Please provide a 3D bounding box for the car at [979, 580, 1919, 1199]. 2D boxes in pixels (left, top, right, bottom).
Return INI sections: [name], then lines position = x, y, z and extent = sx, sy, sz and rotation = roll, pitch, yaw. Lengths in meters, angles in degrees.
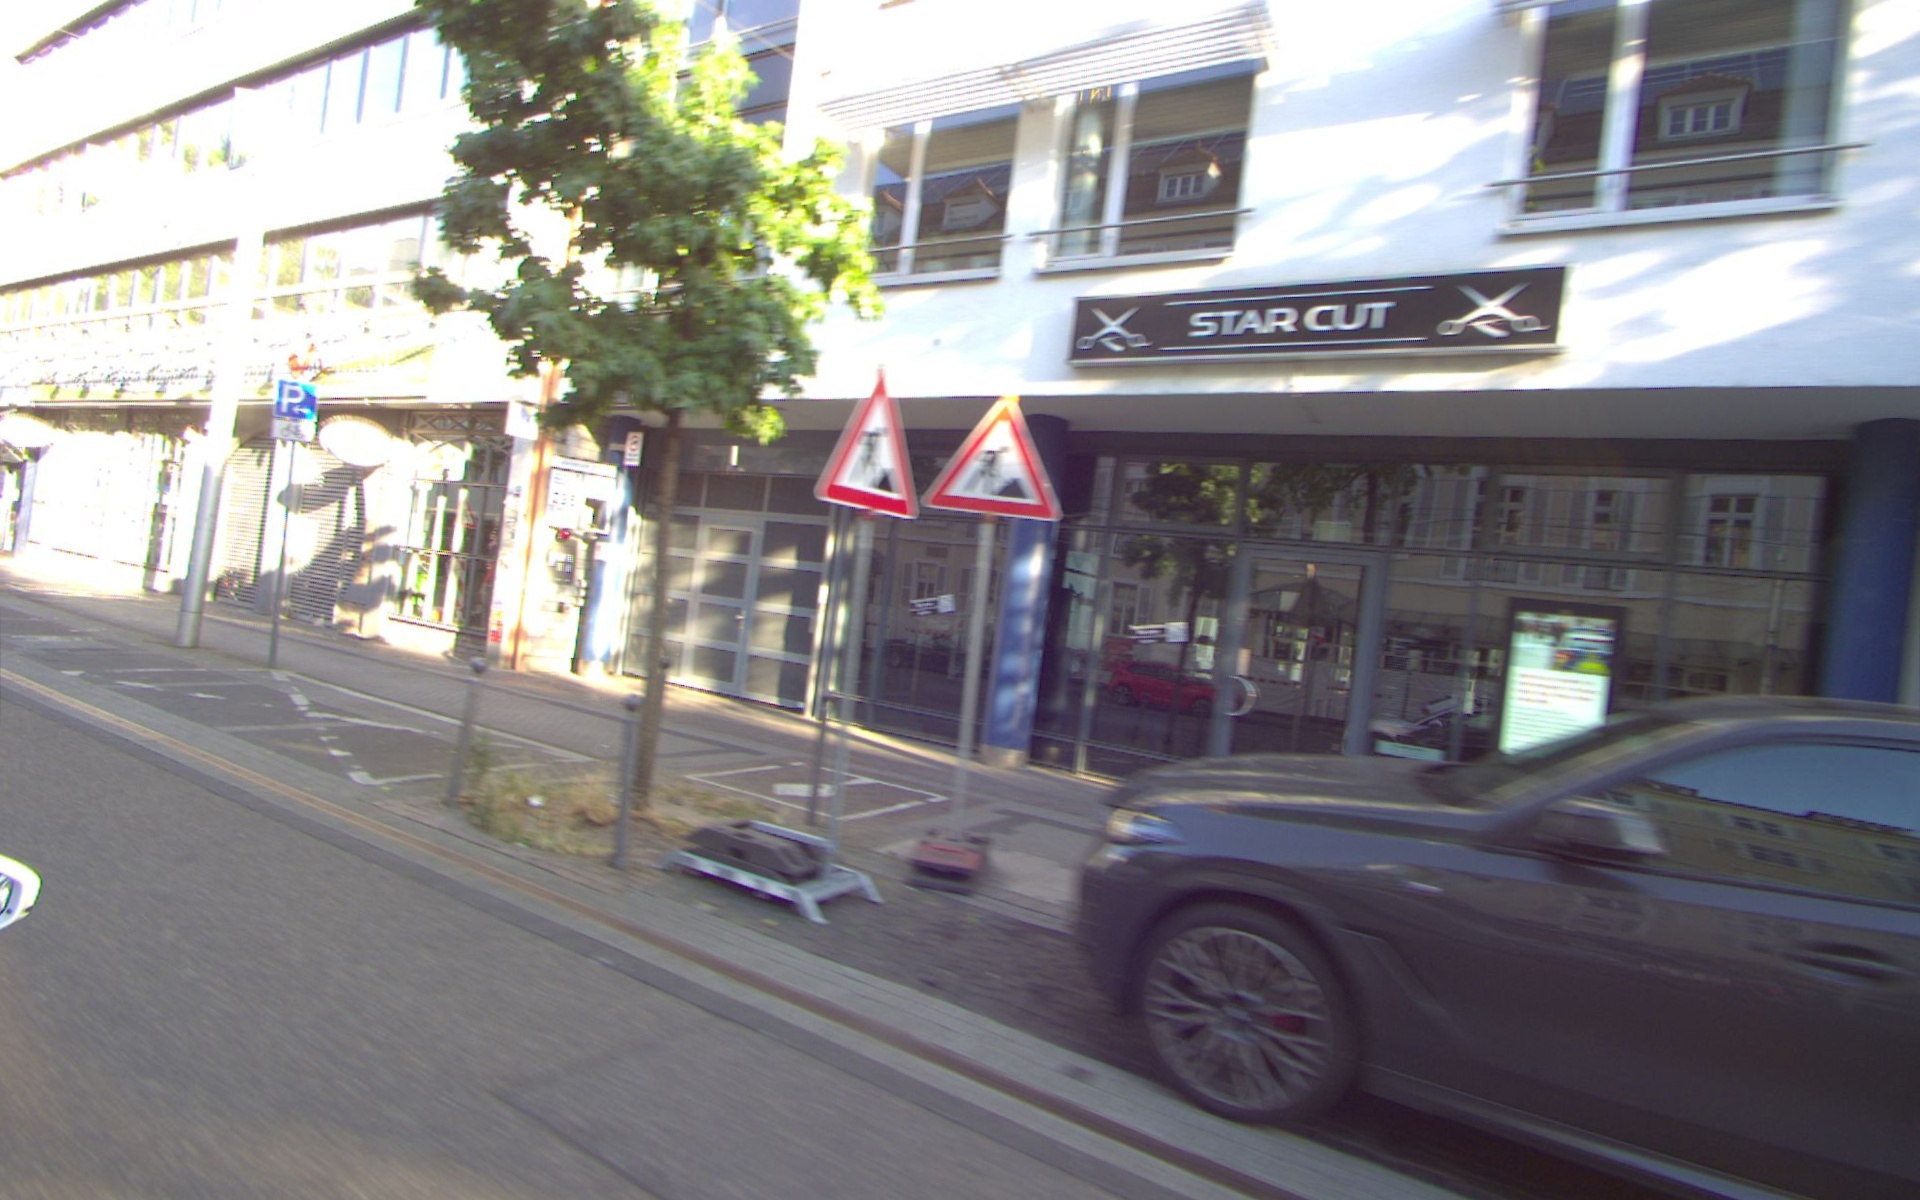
[car]
position = 2.712, 1.119, 3.545
extent = 4.785, 1.733, 1.997
rotation = 7, -1, 32
